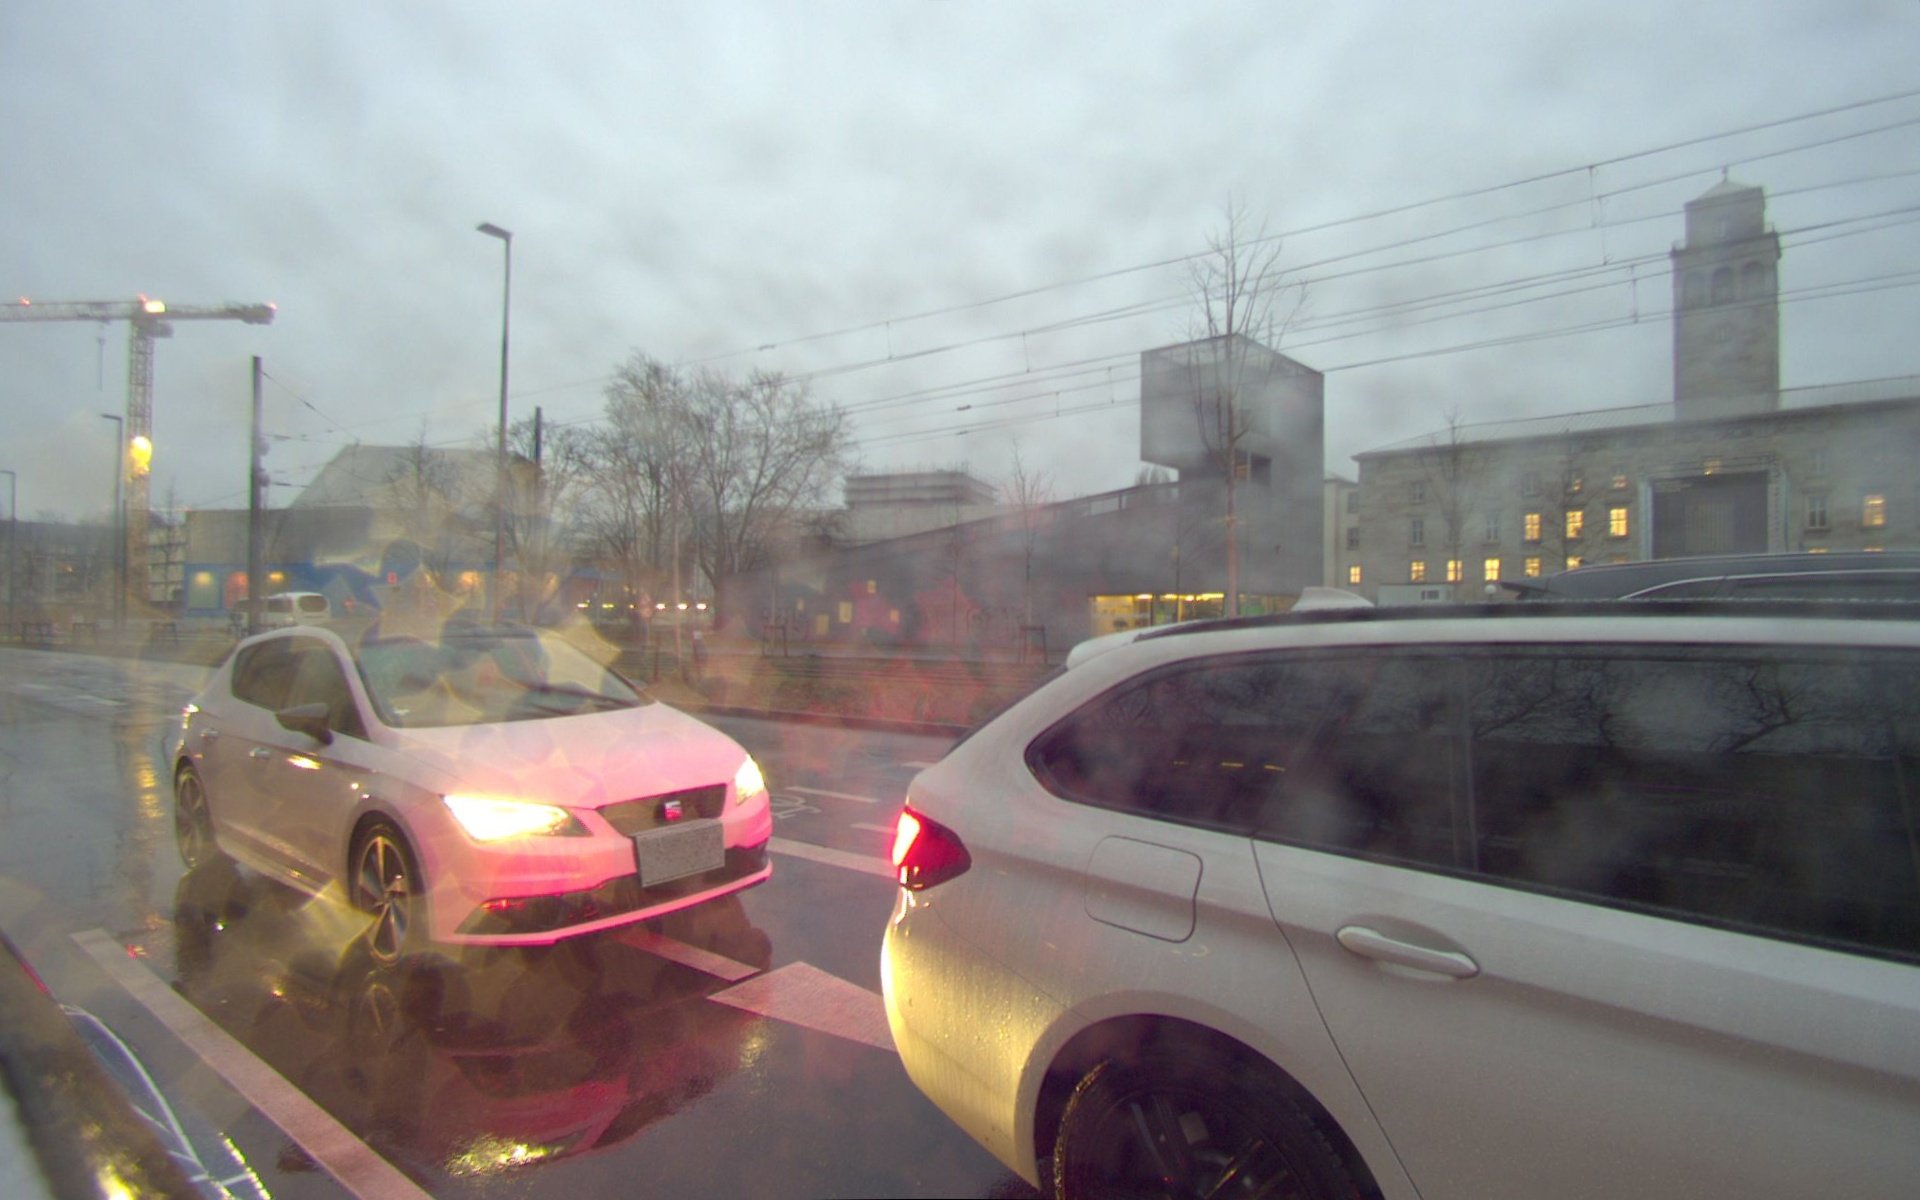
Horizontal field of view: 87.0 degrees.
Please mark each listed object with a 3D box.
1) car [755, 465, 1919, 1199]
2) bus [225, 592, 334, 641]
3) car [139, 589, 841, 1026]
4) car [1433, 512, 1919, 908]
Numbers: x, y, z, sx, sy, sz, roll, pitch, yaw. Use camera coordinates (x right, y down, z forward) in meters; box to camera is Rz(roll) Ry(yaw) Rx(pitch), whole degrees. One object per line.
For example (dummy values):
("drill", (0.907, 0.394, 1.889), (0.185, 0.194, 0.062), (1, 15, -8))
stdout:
("car", (1.961, 0.621, 1.733), (4.919, 1.532, 1.890), (-1, -2, 40))
("bus", (-53.276, 1.305, 79.084), (12.277, 3.605, 2.783), (-1, -2, 35))
("car", (-2.720, 0.746, 5.436), (4.124, 1.486, 1.757), (-1, -2, 38))
("car", (5.010, 0.498, 4.985), (4.605, 1.756, 1.686), (-1, -2, 38))
